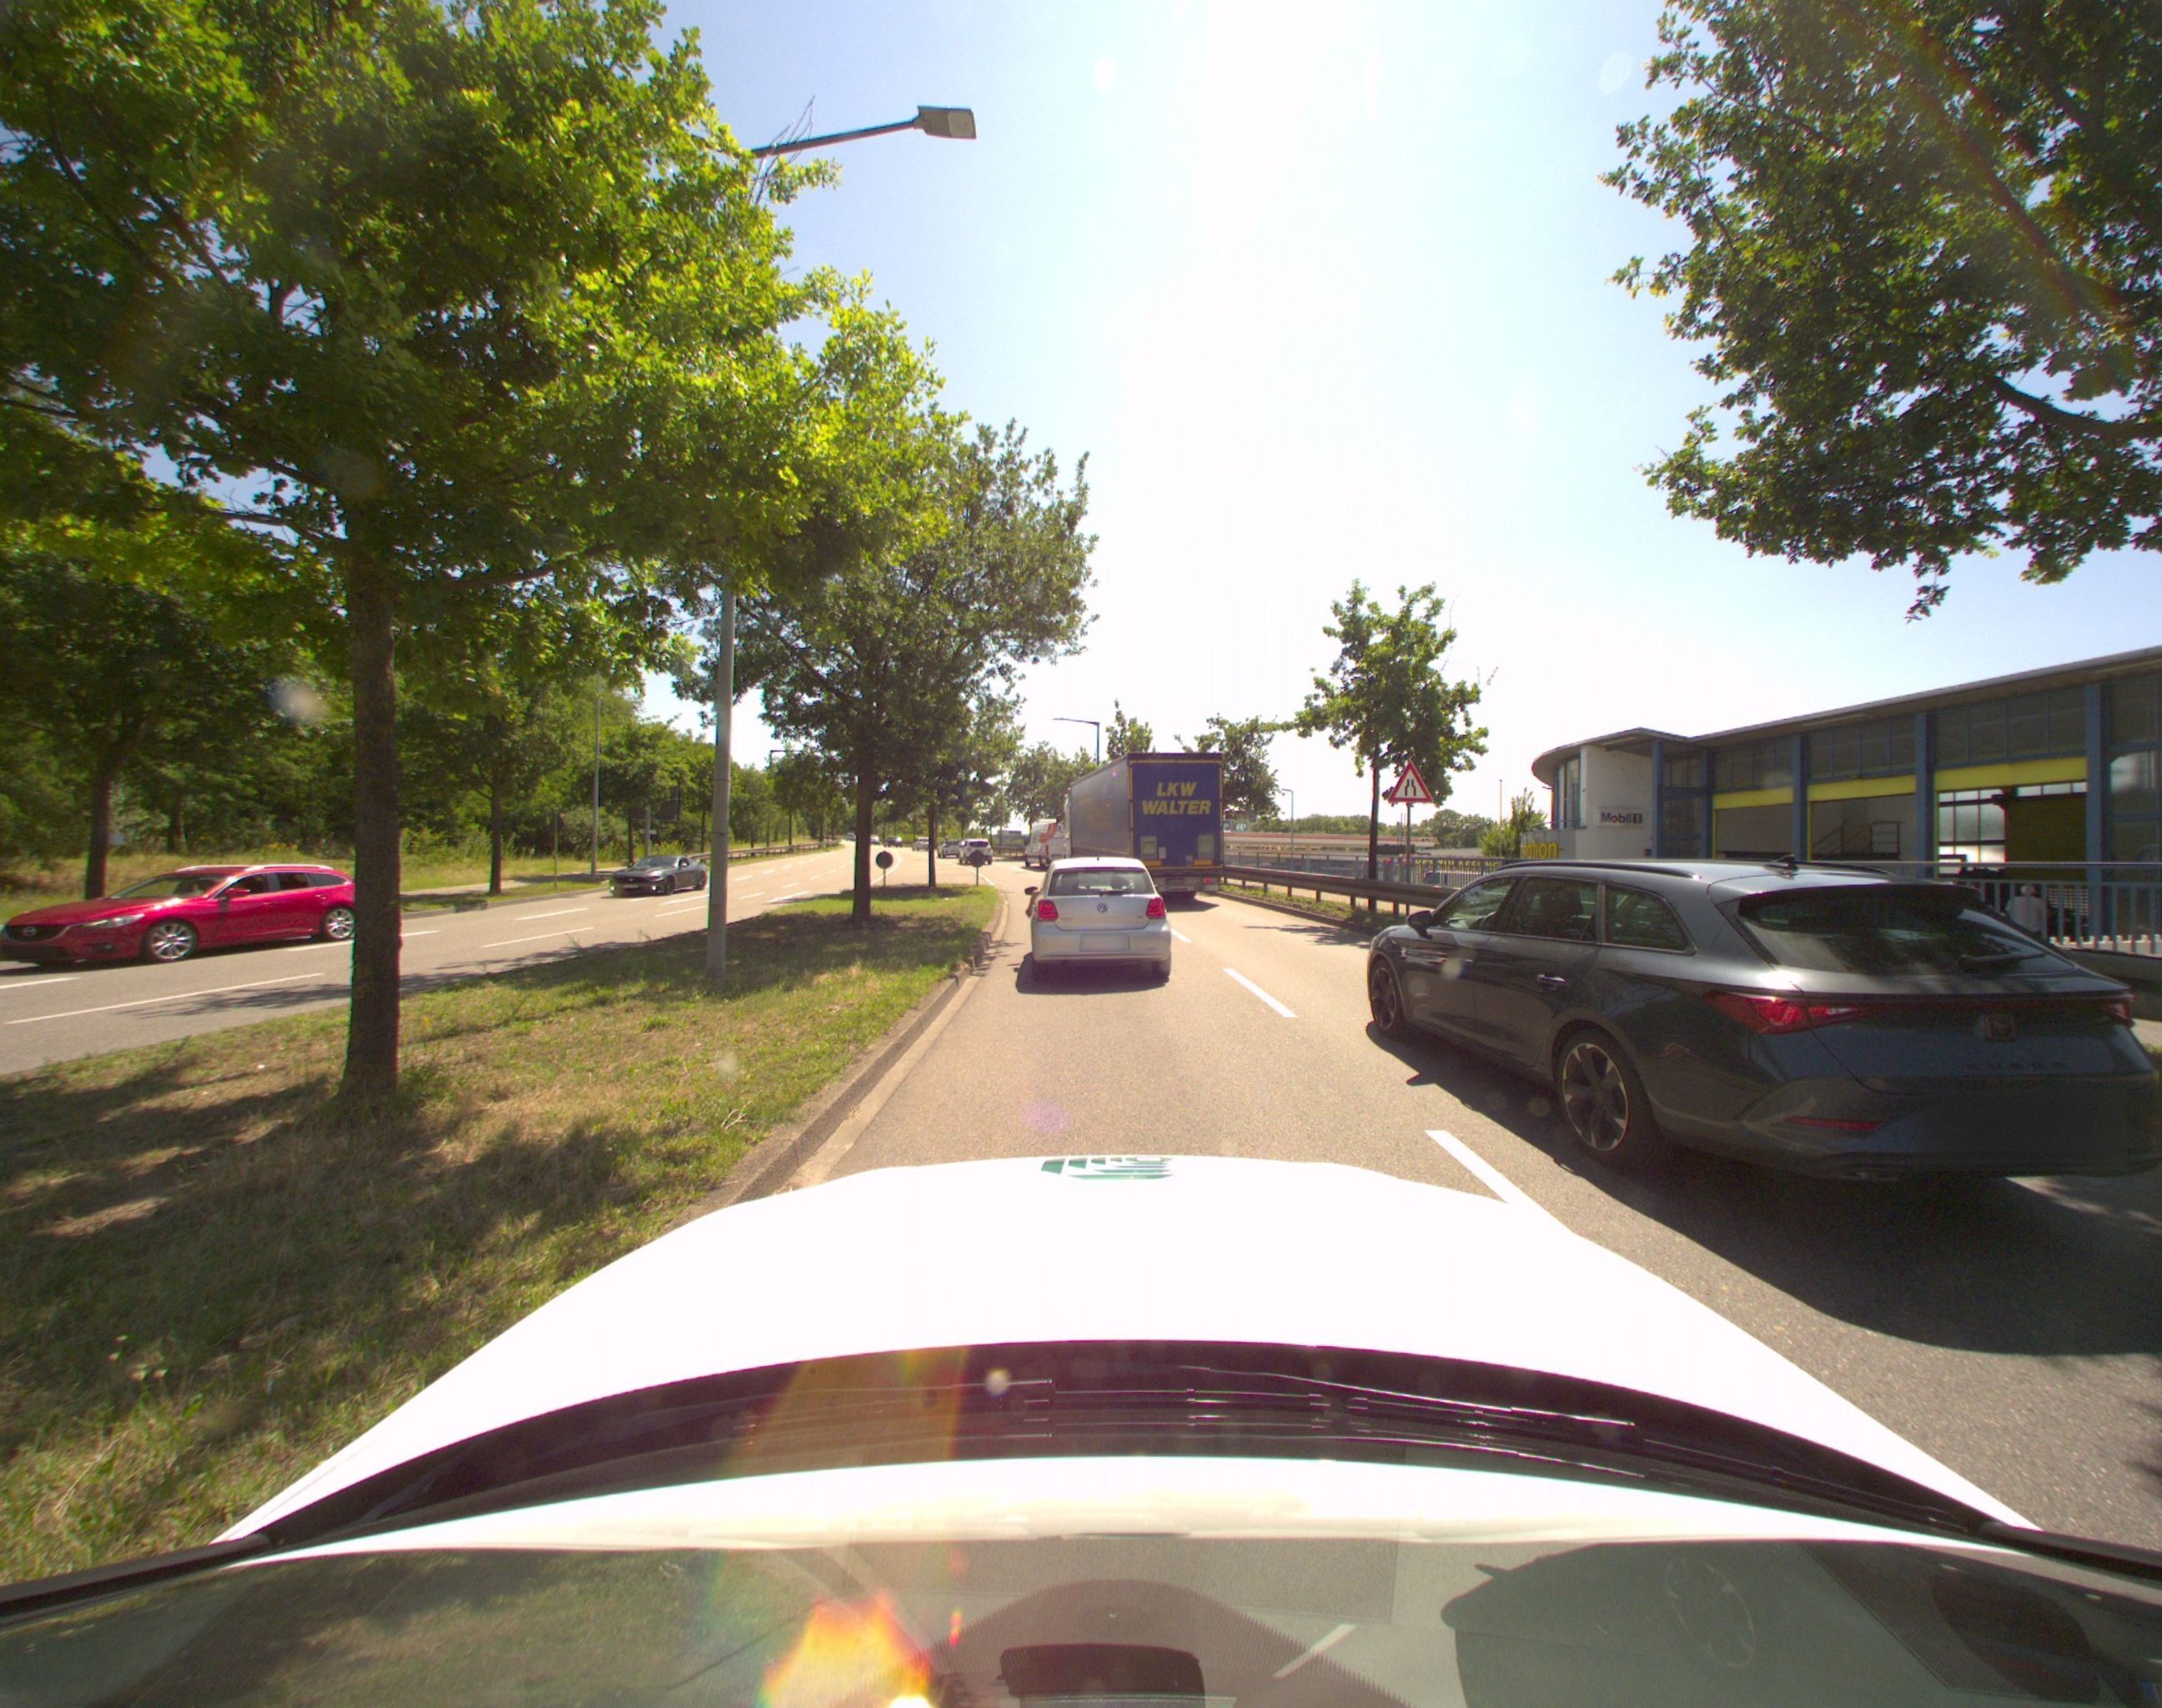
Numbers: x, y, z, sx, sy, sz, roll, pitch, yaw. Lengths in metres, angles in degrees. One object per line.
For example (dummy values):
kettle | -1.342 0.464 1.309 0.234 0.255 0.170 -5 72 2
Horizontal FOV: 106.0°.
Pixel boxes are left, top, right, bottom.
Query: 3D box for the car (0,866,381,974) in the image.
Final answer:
car | -14.610 0.957 13.645 1.825 1.437 4.525 -2 -1 0

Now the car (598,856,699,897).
car | -15.186 0.754 28.879 1.809 1.333 4.553 0 -1 -10

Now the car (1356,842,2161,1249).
car | 3.211 0.706 5.050 1.599 1.456 4.234 0 -1 0

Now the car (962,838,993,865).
car | -6.944 -0.153 54.295 1.903 1.718 4.209 0 -1 -10

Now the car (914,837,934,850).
car | -17.149 -1.137 89.013 1.613 1.360 3.638 0 0 -20

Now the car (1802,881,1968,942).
car | 23.957 1.678 24.331 3.664 1.684 1.646 0 -1 -8

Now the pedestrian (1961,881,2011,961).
pedestrian | 19.591 1.442 17.638 0.520 1.703 0.488 0 -1 -2

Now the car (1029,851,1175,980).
car | 0.181 0.702 10.902 1.642 1.439 3.534 0 -1 -2

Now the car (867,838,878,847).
car | -30.638 -1.669 119.433 1.460 1.314 3.618 0 -1 -16

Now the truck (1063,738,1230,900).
truck | 1.560 -0.926 29.430 2.830 4.198 16.435 0 0 -7

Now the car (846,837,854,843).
car | -43.882 -2.654 154.718 1.324 1.139 2.979 0 -1 -16

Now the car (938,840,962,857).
car | -10.854 -0.438 67.227 1.498 1.360 3.642 0 0 -17

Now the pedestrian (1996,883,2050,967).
pedestrian | 19.627 1.468 16.976 0.425 1.703 0.589 0 -1 -3

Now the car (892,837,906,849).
car | -23.707 -1.402 106.243 1.668 1.465 3.562 0 -1 -15

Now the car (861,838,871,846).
car | -34.786 -1.908 131.789 1.420 1.314 3.320 0 -1 -15

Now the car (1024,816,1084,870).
car | -1.663 -0.677 47.184 2.178 2.900 6.329 0 1 -14
